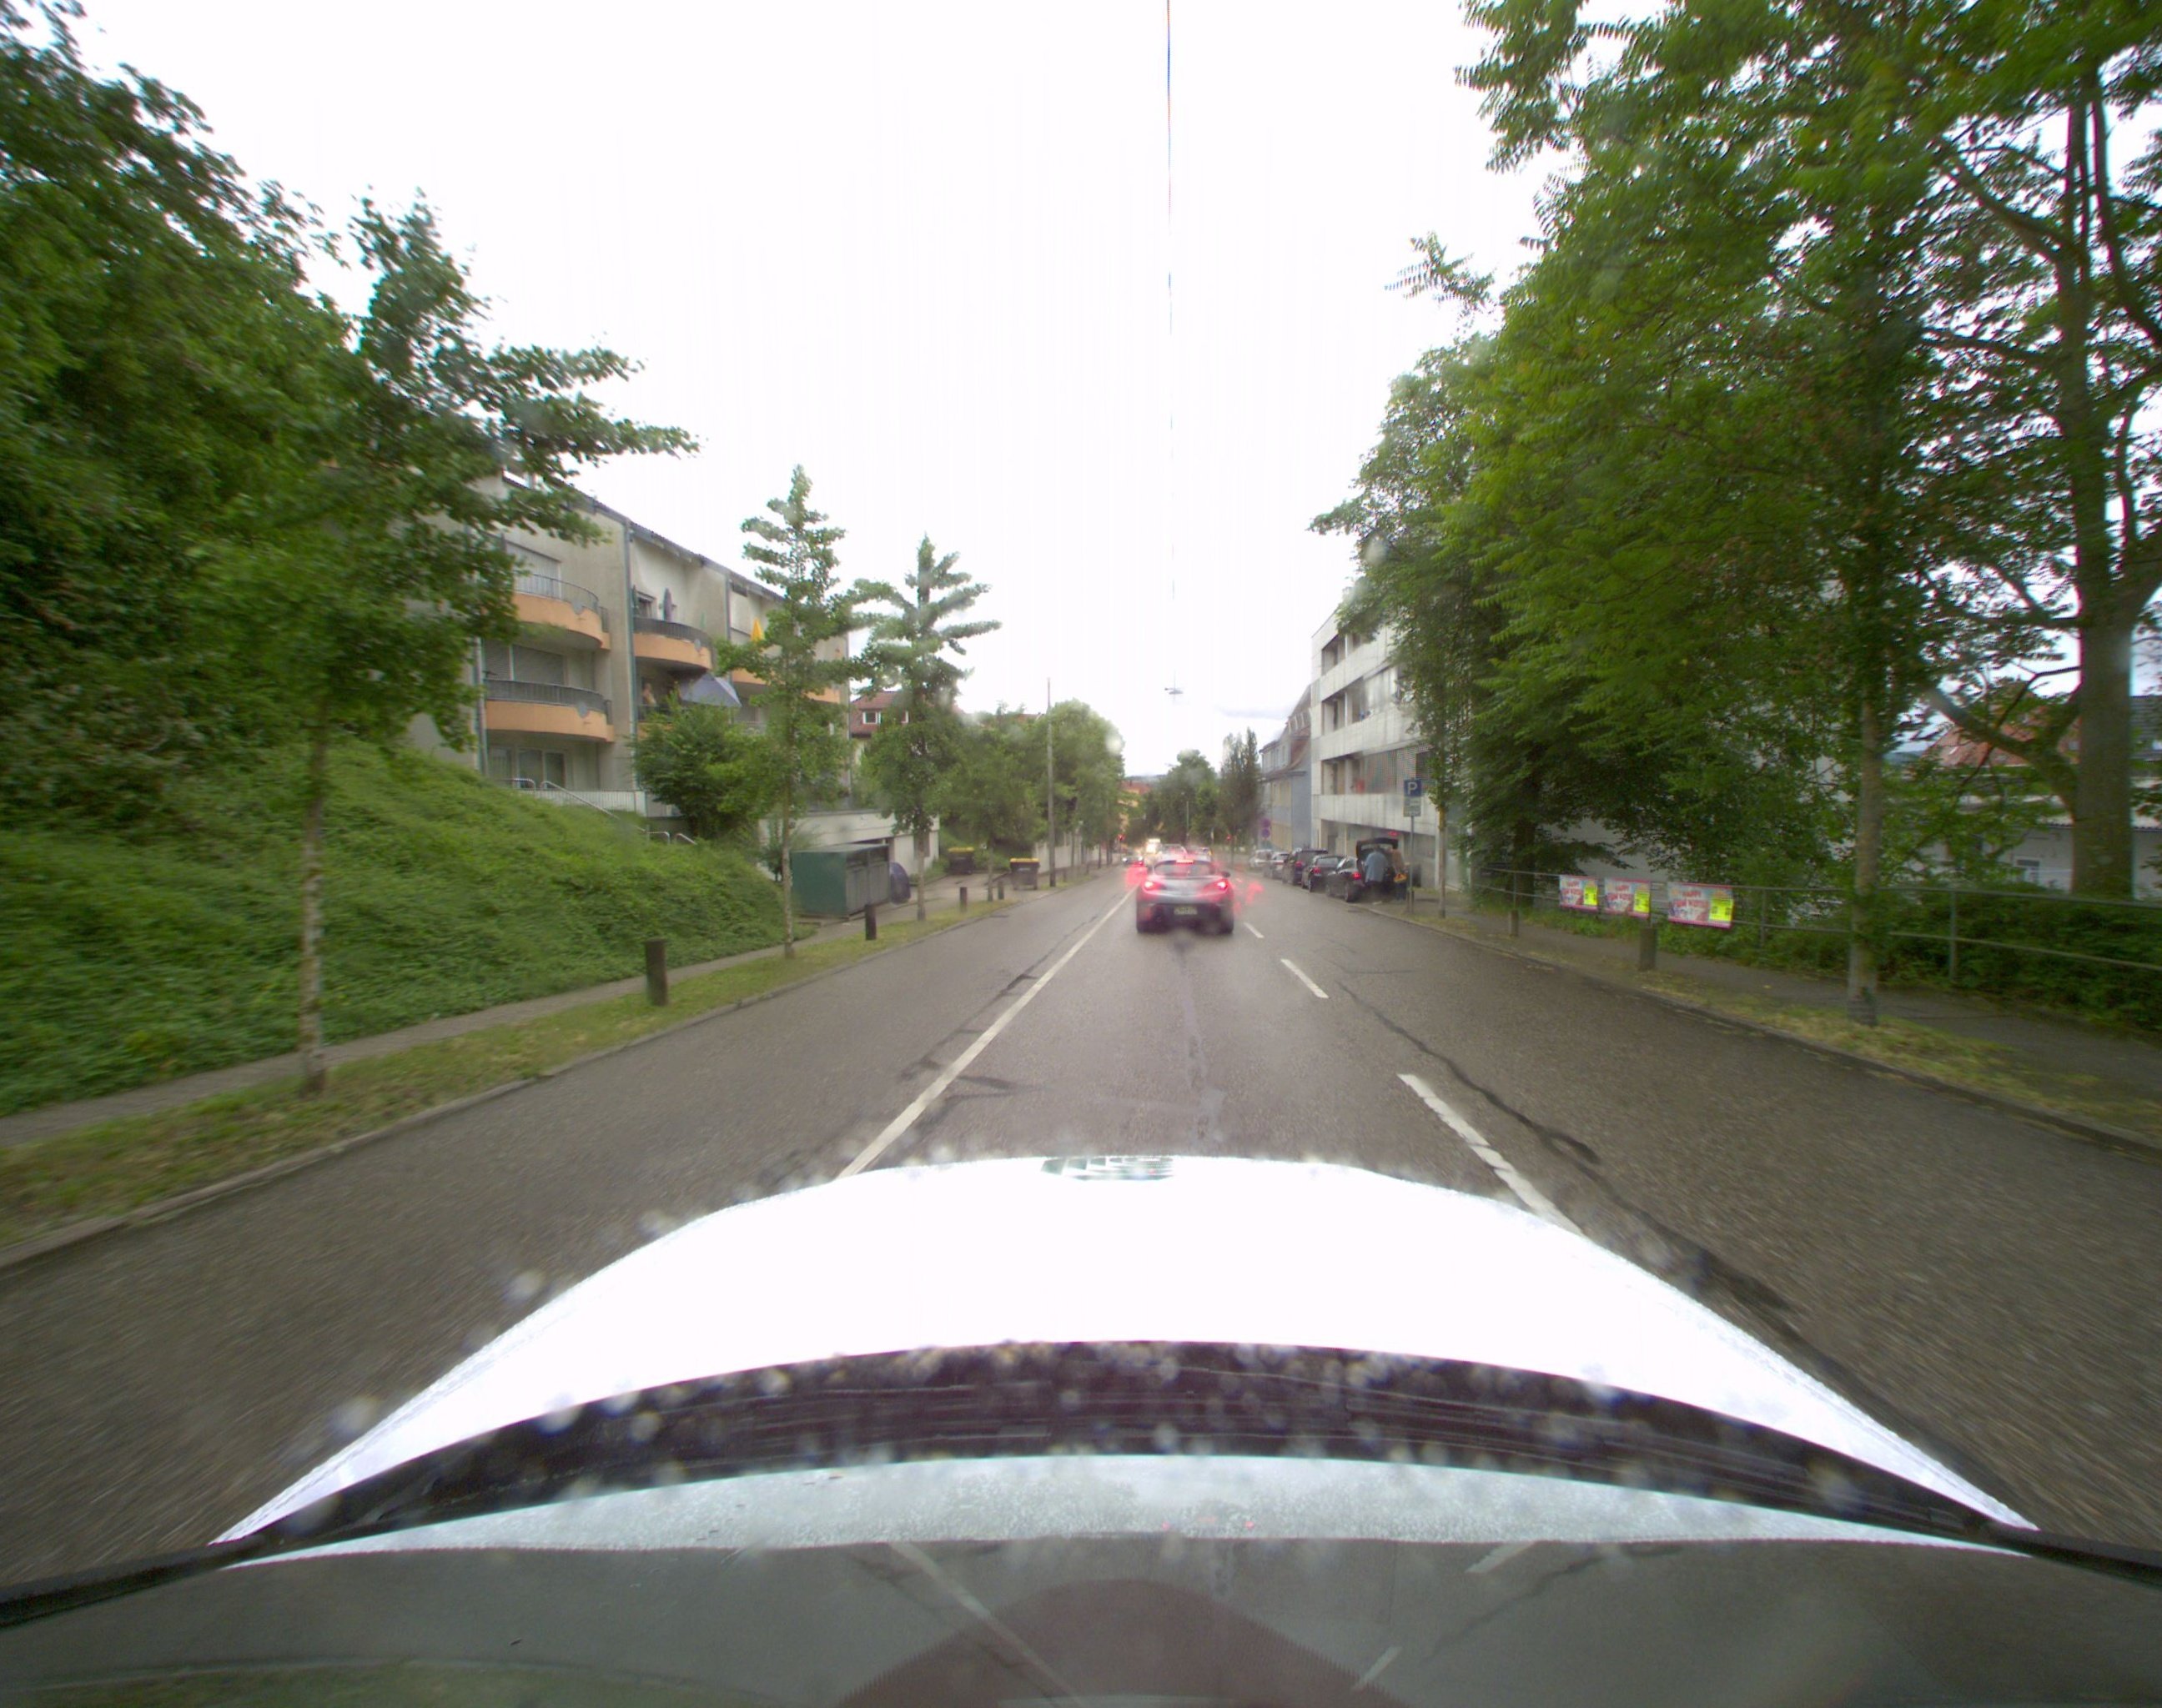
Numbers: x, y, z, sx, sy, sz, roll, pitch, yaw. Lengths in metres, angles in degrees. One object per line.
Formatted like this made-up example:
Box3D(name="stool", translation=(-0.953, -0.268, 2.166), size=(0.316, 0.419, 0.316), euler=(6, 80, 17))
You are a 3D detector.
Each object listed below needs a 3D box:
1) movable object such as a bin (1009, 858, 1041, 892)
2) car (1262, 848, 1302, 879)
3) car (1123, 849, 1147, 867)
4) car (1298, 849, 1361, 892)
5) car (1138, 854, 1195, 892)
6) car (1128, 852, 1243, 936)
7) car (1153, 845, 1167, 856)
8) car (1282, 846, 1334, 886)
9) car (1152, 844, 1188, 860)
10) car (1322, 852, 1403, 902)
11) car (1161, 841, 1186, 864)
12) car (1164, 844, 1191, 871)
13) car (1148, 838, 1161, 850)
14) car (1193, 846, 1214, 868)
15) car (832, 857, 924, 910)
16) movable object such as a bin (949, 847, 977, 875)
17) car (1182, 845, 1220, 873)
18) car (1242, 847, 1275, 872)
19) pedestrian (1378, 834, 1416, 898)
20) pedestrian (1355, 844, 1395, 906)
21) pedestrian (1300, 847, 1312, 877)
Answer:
Box3D(name="movable object such as a bin", translation=(-2.331, 0.873, 34.213), size=(1.266, 1.387, 0.489), euler=(0, 1, 3))
Box3D(name="car", translation=(10.902, 0.469, 44.378), size=(1.575, 1.493, 4.299), euler=(-2, 1, 7))
Box3D(name="car", translation=(5.009, 0.356, 75.416), size=(1.840, 1.469, 4.096), euler=(-5, 0, 7))
Box3D(name="car", translation=(9.693, 0.602, 32.078), size=(1.672, 1.464, 4.009), euler=(-2, 1, 7))
Box3D(name="car", translation=(3.127, 0.674, 30.592), size=(1.791, 1.323, 4.001), euler=(0, 0, 1))
Box3D(name="car", translation=(1.992, 0.720, 16.561), size=(1.938, 1.431, 3.886), euler=(-1, 1, 2))
Box3D(name="car", translation=(12.092, -0.495, 124.103), size=(1.983, 1.535, 4.317), euler=(2, 2, 6))
Box3D(name="car", translation=(10.184, 0.507, 36.758), size=(1.677, 1.570, 4.009), euler=(-2, 1, 7))
Box3D(name="car", translation=(10.484, -0.204, 95.773), size=(3.880, 1.479, 1.809), euler=(-6, 1, -35))
Box3D(name="car", translation=(9.027, 0.690, 26.407), size=(1.496, 1.435, 4.006), euler=(-2, 0, 5))
Box3D(name="car", translation=(8.852, -0.147, 77.953), size=(2.322, 2.036, 4.744), euler=(2, 2, 6))
Box3D(name="car", translation=(7.086, 0.210, 60.203), size=(1.760, 1.780, 3.982), euler=(1, 2, 4))
Box3D(name="car", translation=(11.906, -1.635, 131.648), size=(1.983, 1.784, 4.009), euler=(2, 2, 7))
Box3D(name="car", translation=(12.955, 0.279, 86.353), size=(1.983, 2.036, 4.744), euler=(2, 2, 6))
Box3D(name="car", translation=(-6.677, 0.916, 27.173), size=(1.734, 1.456, 3.888), euler=(-5, 0, 4))
Box3D(name="movable object such as a bin", translation=(-5.826, 0.351, 40.235), size=(1.266, 1.387, 0.489), euler=(0, 1, 3))
Box3D(name="car", translation=(7.106, 0.274, 48.674), size=(1.952, 1.472, 3.956), euler=(1, 2, 4))
Box3D(name="car", translation=(12.816, 0.395, 58.942), size=(1.896, 1.570, 4.009), euler=(-2, 1, 7))
Box3D(name="pedestrian", translation=(9.372, 0.348, 24.145), size=(0.690, 1.836, 0.660), euler=(-4, 1, -26))
Box3D(name="pedestrian", translation=(8.627, 0.610, 23.868), size=(0.741, 1.723, 0.756), euler=(-5, 1, -43))
Box3D(name="pedestrian", translation=(13.920, 0.499, 50.343), size=(0.642, 1.784, 0.543), euler=(-1, 1, 7))
